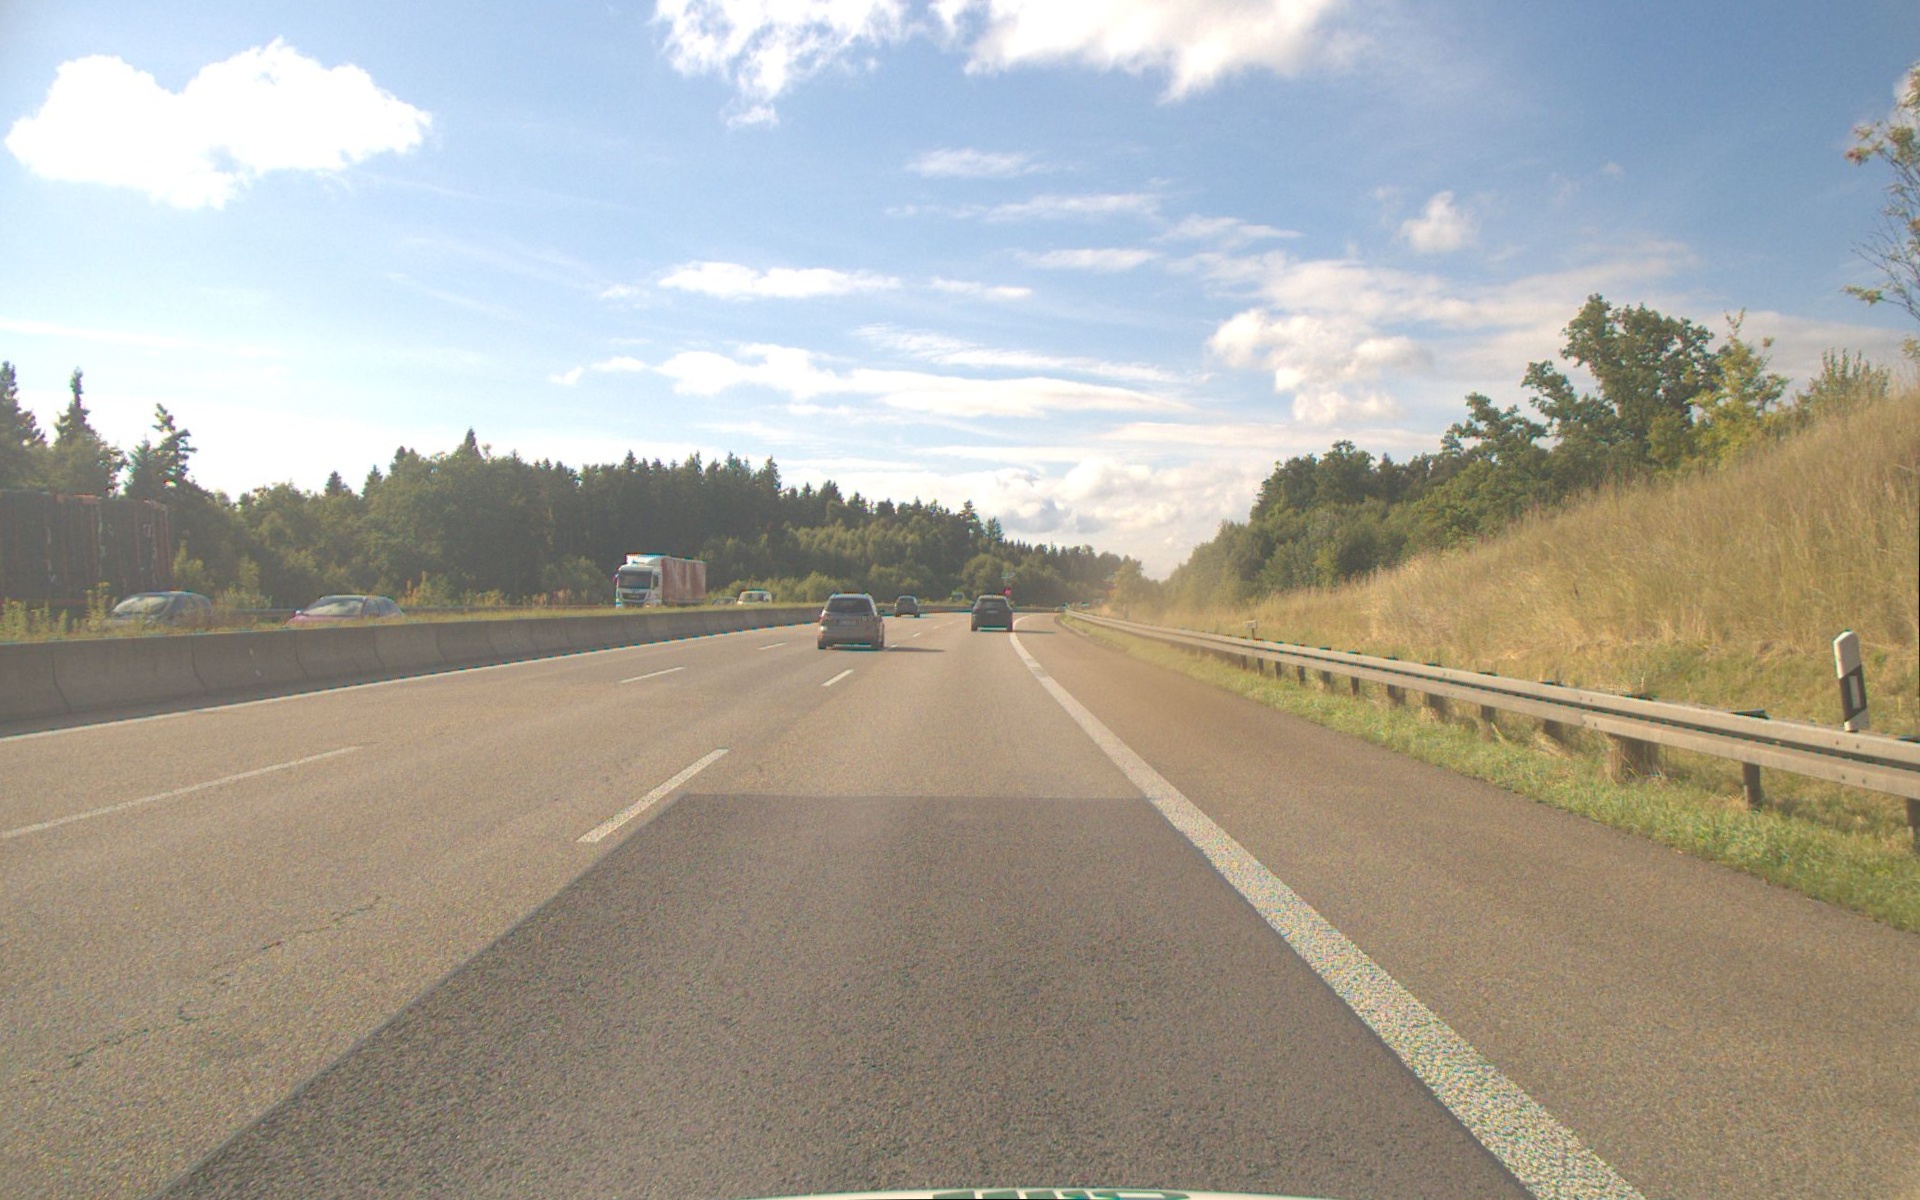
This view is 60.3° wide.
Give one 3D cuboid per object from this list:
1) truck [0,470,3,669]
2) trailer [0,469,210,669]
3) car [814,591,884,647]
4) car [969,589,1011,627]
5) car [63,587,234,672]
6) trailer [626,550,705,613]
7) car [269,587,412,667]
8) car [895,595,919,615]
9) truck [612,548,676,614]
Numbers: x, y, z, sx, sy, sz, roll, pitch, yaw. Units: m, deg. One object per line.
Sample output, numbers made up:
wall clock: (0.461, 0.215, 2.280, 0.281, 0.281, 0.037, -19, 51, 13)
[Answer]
truck: (-22.845, -0.687, 34.342, 2.745, 4.469, 5.464, 1, 0, -1)
trailer: (-22.906, -0.725, 41.441, 2.745, 4.469, 12.049, 1, 0, 0)
car: (-3.170, 0.530, 47.884, 1.836, 1.523, 3.879, 1, 0, -1)
car: (1.368, 0.346, 76.353, 1.835, 1.704, 3.890, 1, 0, 0)
car: (-18.554, 0.632, 38.036, 1.953, 1.834, 4.000, 1, 0, 0)
trailer: (-20.468, -1.234, 115.828, 2.959, 4.180, 12.793, 1, 0, 1)
car: (-15.004, 0.615, 40.261, 1.953, 1.834, 4.000, 1, 0, 0)
car: (-4.263, 0.410, 132.551, 1.836, 1.523, 3.878, 1, 0, -3)
truck: (-20.639, -1.231, 108.339, 2.961, 4.180, 5.669, 1, 0, 1)
